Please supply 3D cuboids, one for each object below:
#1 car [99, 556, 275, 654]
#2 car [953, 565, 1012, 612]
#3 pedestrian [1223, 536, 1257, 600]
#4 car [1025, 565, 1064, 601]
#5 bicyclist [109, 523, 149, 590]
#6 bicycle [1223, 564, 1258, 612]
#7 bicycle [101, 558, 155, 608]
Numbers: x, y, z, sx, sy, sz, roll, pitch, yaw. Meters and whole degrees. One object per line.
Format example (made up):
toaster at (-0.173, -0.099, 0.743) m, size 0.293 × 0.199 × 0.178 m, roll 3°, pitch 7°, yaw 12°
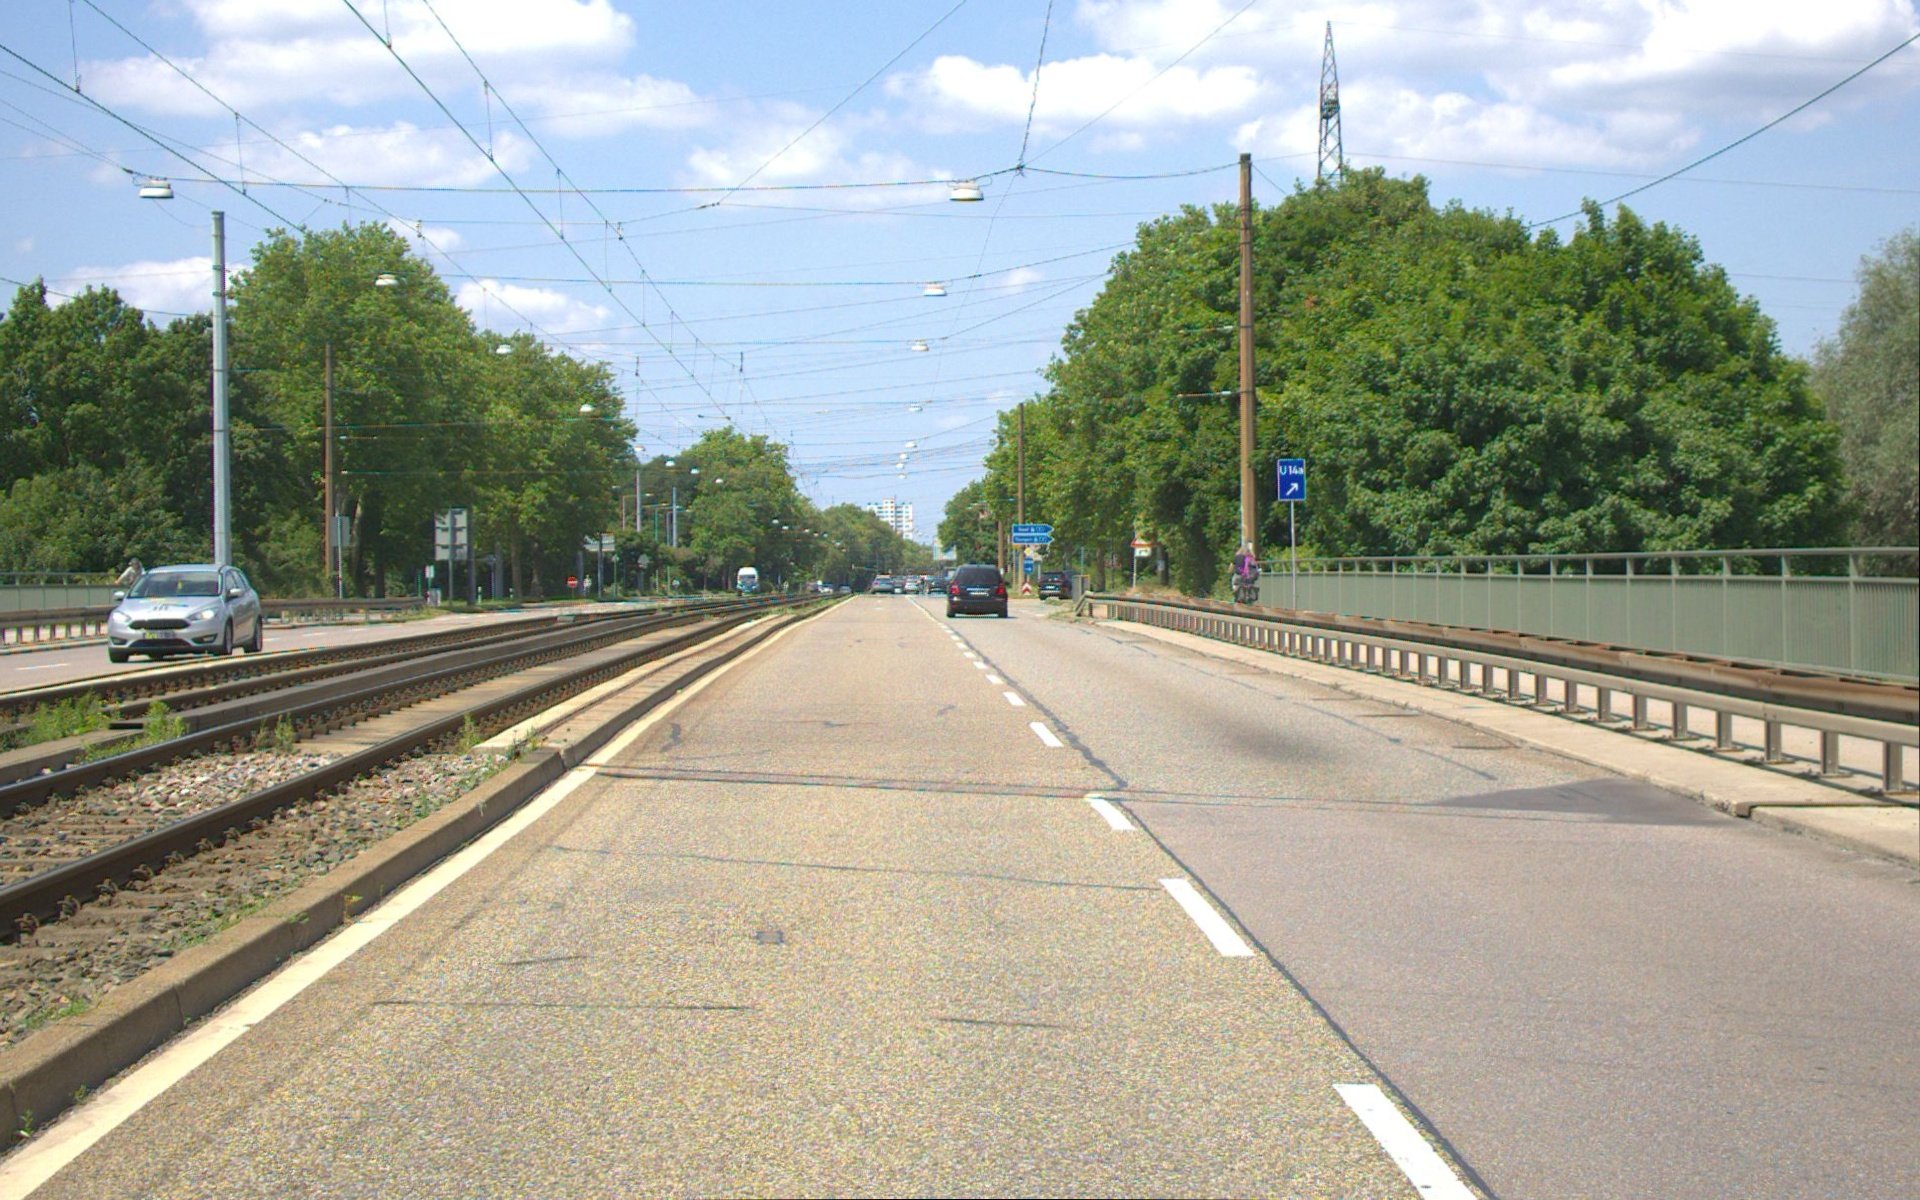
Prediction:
car at (-11.915, 0.058, 53.269) m, size 1.711 × 1.415 × 4.624 m, roll -1°, pitch 0°, yaw -1°
car at (0.646, -0.351, 102.365) m, size 1.586 × 1.338 × 3.273 m, roll -1°, pitch 1°, yaw -3°
pedestrian at (6.118, -0.700, 75.100) m, size 0.628 × 1.369 × 1.050 m, roll -1°, pitch 0°, yaw -1°
car at (4.689, -0.933, 190.457) m, size 1.993 × 1.963 × 4.000 m, roll 1°, pitch 0°, yaw 0°
bicyclist at (-20.190, -1.059, 83.558) m, size 0.763 × 1.616 × 0.838 m, roll 1°, pitch 0°, yaw -1°
bicycle at (6.121, -0.256, 75.032) m, size 0.559 × 1.021 × 1.848 m, roll -1°, pitch 0°, yaw -1°
bicycle at (-20.241, -0.407, 83.637) m, size 0.857 × 1.181 × 2.062 m, roll 1°, pitch 0°, yaw -2°
